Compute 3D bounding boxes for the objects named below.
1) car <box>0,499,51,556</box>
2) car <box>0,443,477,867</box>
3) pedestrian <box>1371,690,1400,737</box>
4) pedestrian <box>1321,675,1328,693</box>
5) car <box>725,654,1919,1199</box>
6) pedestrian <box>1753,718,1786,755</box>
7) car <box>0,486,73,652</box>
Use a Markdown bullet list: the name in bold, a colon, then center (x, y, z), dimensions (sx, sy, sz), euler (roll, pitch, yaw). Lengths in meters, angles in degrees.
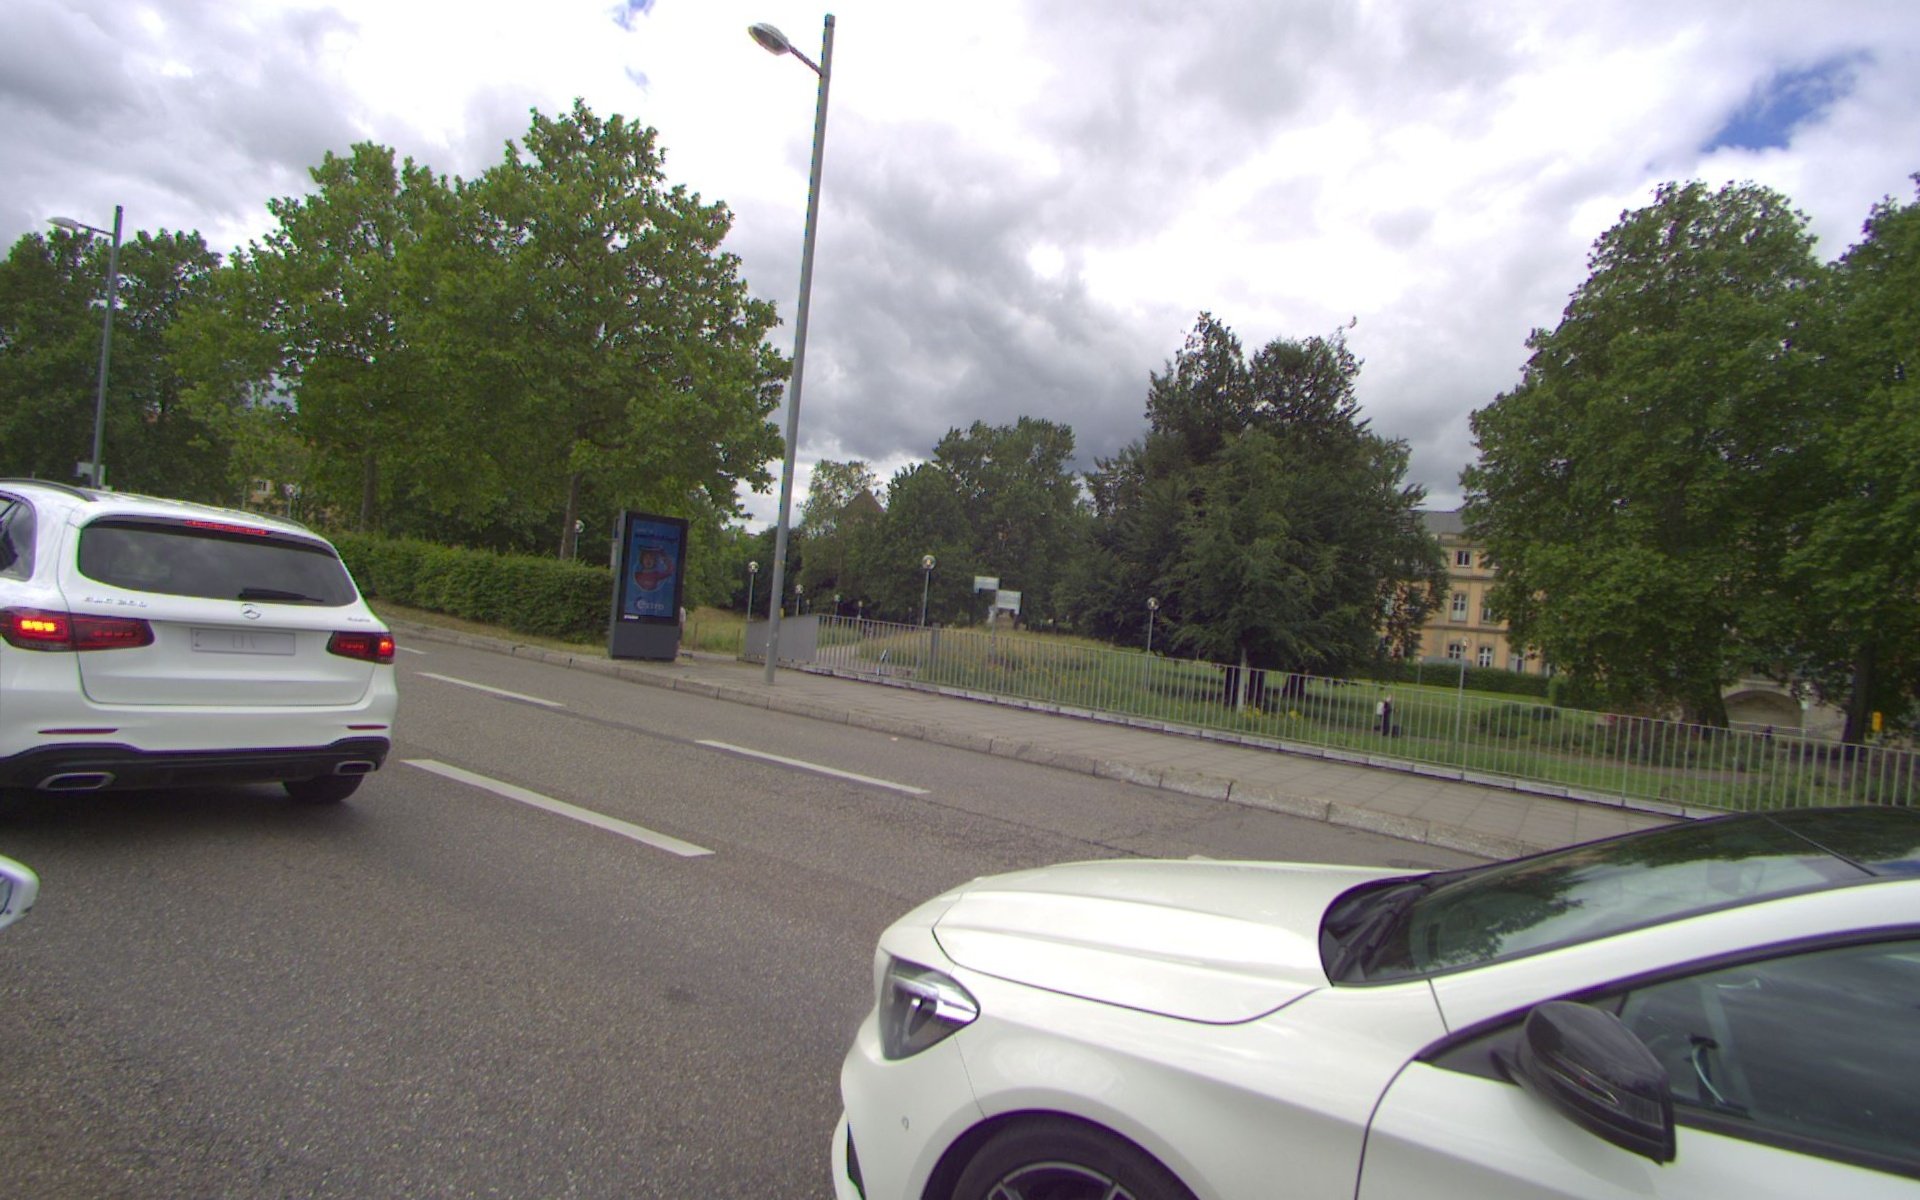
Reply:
- **car**: center (-29.345, -2.288, 30.364), dimensions (4.459, 1.476, 1.933), euler (5, -3, 37)
- **car**: center (-5.103, 0.106, 5.934), dimensions (4.417, 1.673, 1.929), euler (6, -1, 33)
- **pedestrian**: center (15.688, 4.186, 37.109), dimensions (0.645, 1.619, 0.684), euler (6, -2, 2)
- **pedestrian**: center (35.559, 8.184, 98.132), dimensions (0.460, 1.725, 0.405), euler (5, -2, 32)
- **car**: center (1.848, 1.092, 1.835), dimensions (4.454, 1.436, 1.796), euler (5, -2, 33)
- **pedestrian**: center (48.360, 8.136, 60.102), dimensions (0.925, 2.036, 1.107), euler (6, -2, 3)
- **car**: center (-11.314, -0.527, 10.460), dimensions (4.417, 1.569, 1.929), euler (6, -2, 33)
